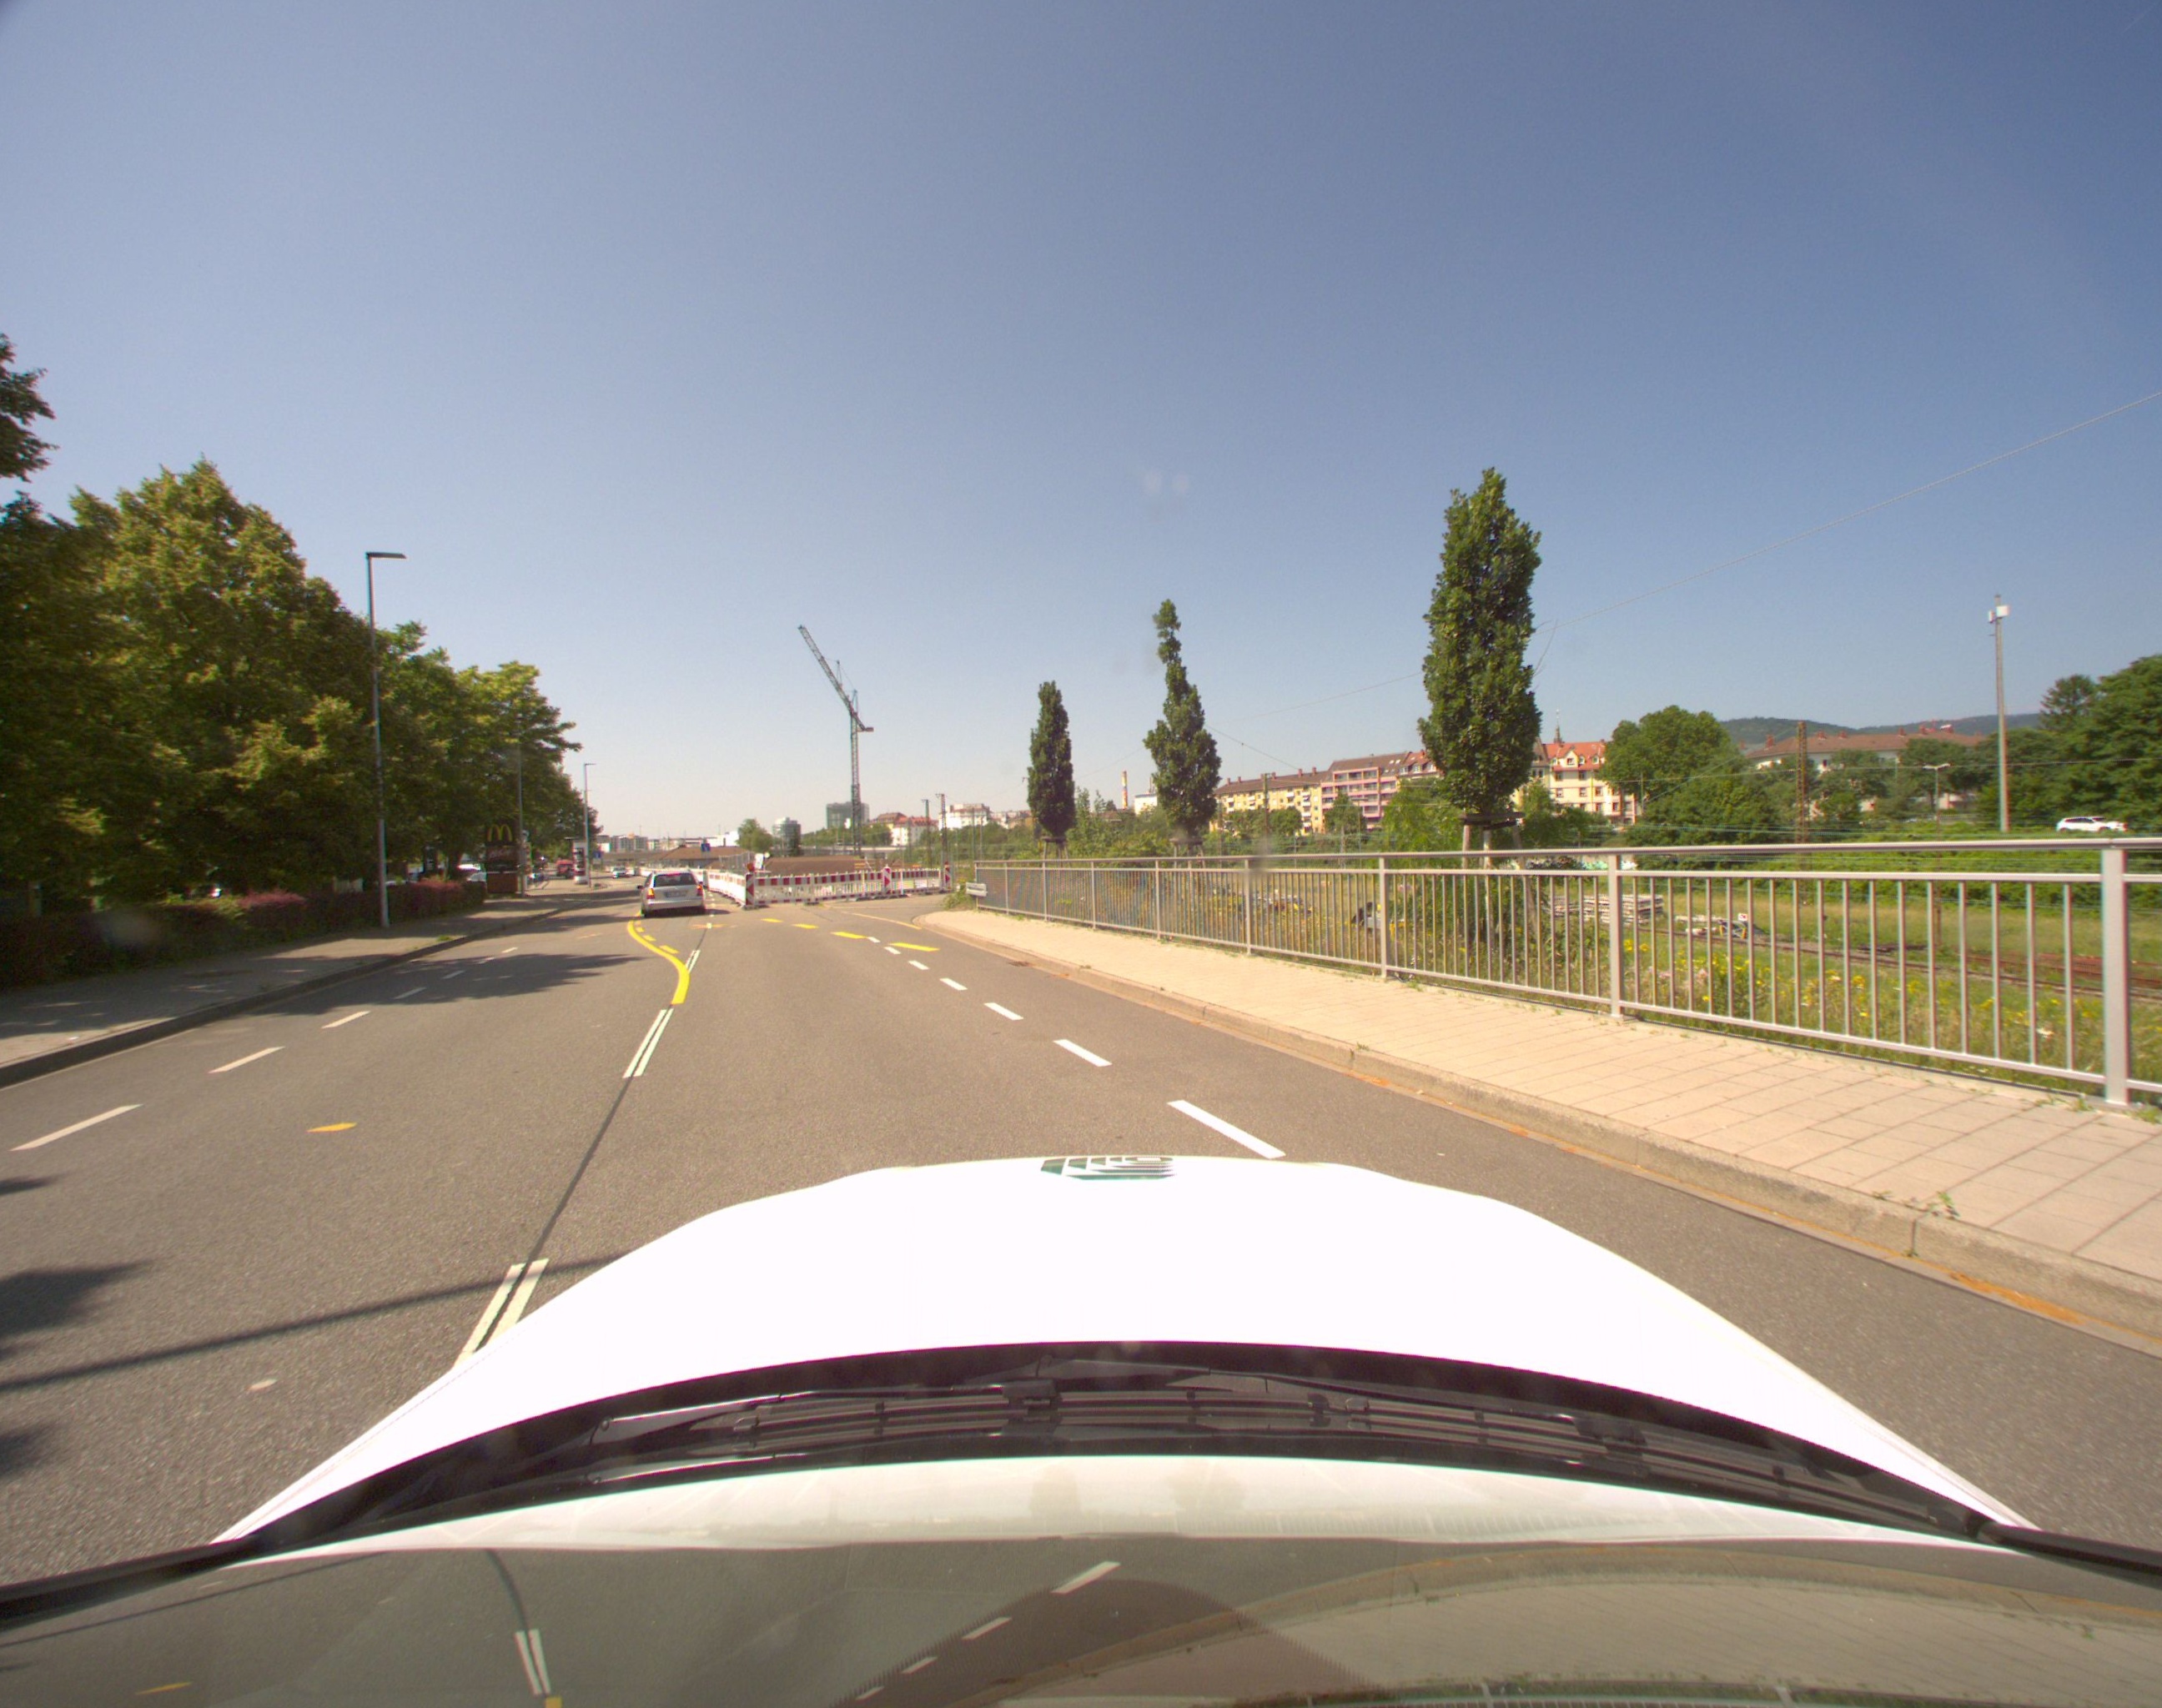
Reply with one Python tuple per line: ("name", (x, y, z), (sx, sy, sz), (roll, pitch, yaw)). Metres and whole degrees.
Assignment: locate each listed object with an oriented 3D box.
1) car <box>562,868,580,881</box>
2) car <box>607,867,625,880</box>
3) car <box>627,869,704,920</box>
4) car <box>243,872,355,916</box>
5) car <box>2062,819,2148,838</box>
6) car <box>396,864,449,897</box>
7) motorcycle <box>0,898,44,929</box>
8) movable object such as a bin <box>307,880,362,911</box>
("car", (-68.139, 2.703, 108.859), (1.881, 1.498, 3.993), (-4, 2, -30))
("car", (-58.096, 2.425, 101.785), (1.689, 1.493, 4.559), (-3, 1, -32))
("car", (-13.149, 1.214, 25.645), (1.720, 1.404, 4.341), (-1, 0, -33))
("car", (-44.116, 2.227, 46.010), (4.488, 1.919, 1.896), (-5, 2, 5))
("car", (84.438, -2.108, 67.242), (1.850, 1.367, 4.324), (-2, 0, 6))
("car", (-60.028, 2.368, 74.375), (2.288, 2.757, 6.101), (-3, 0, -25))
("motorcycle", (-42.711, 2.369, 32.123), (0.562, 1.131, 2.197), (-2, 0, 37))
("movable object such as a bin", (-44.449, 2.462, 48.525), (1.769, 1.526, 1.452), (-4, 3, -7))
